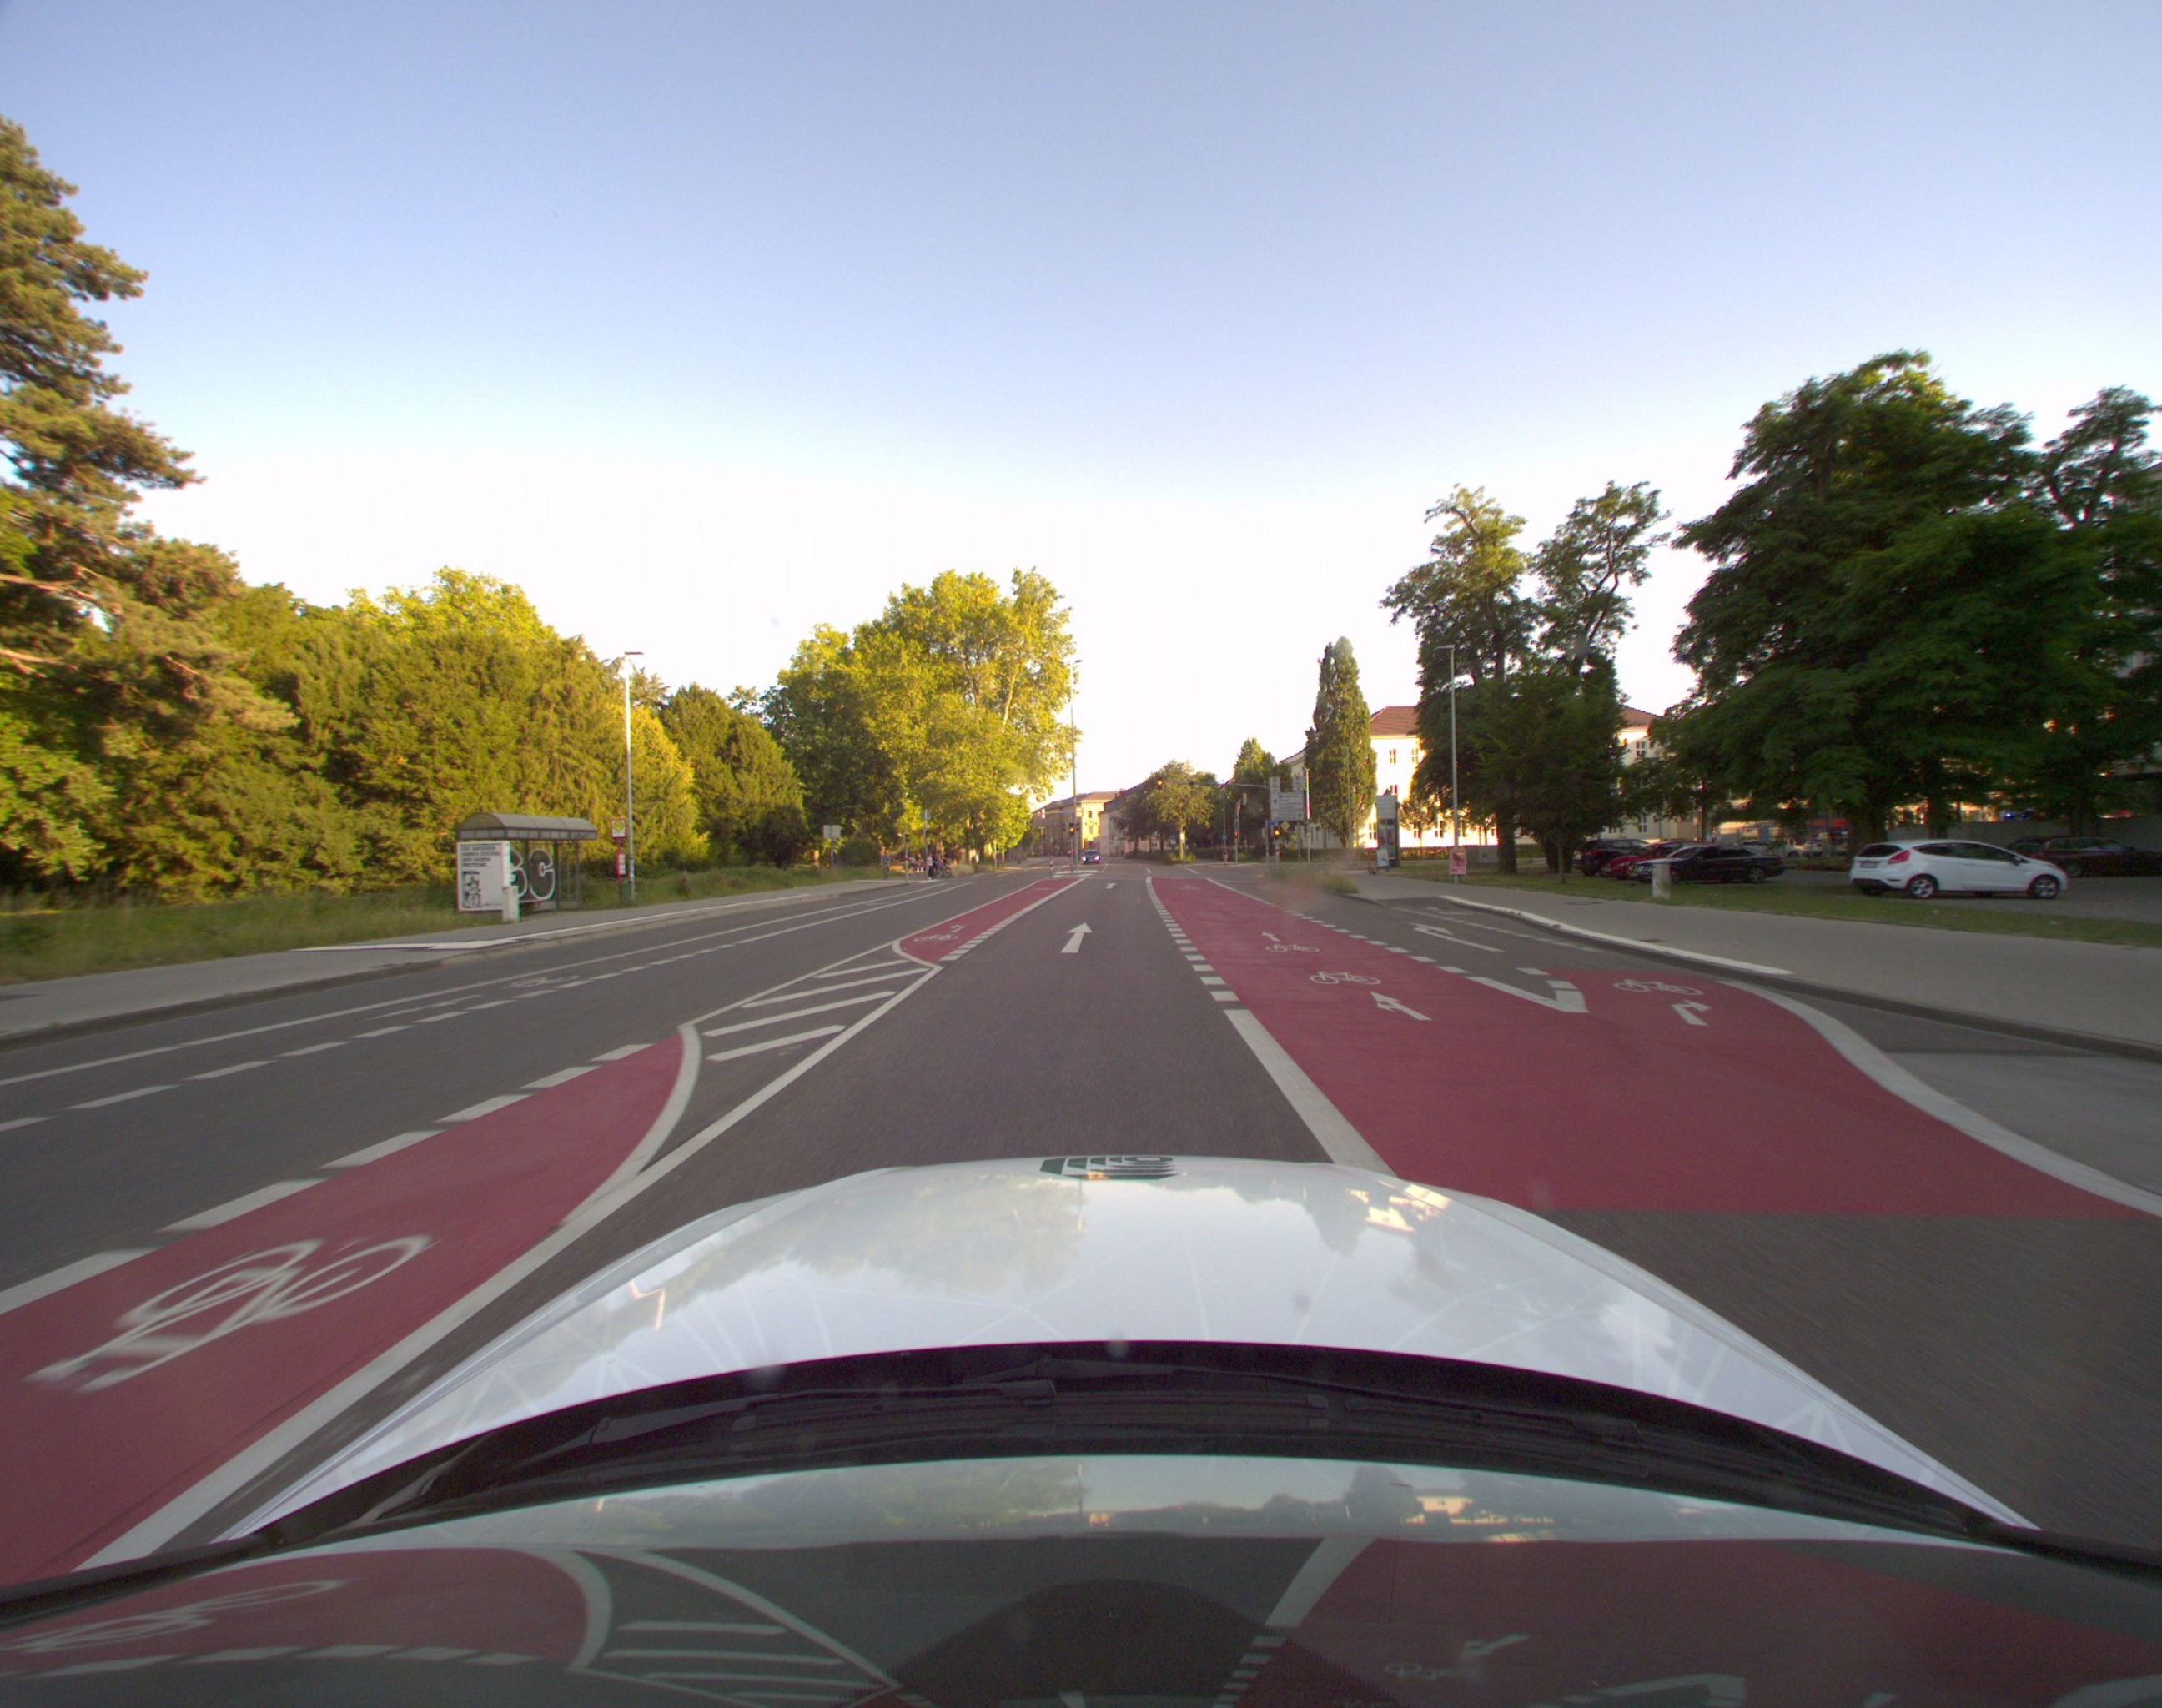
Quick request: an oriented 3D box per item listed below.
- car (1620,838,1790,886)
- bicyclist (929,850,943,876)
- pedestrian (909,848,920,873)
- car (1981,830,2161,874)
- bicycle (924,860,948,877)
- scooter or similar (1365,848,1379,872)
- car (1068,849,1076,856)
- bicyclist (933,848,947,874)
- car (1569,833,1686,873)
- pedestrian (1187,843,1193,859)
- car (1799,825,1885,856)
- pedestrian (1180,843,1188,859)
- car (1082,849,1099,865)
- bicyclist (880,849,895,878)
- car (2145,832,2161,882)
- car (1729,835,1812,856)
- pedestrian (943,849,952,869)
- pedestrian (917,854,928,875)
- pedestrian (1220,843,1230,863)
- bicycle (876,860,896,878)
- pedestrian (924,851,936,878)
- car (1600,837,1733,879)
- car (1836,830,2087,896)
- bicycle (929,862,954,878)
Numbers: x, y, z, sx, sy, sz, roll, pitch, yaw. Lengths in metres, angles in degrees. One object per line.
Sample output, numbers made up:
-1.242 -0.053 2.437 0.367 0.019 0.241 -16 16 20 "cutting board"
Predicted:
22.638 0.314 29.711 4.546 1.449 1.904 -3 -2 6 "car"
-9.462 0.572 53.149 0.631 1.649 0.634 -1 0 34 "bicyclist"
-13.568 0.518 66.368 0.653 2.013 0.600 0 0 -35 "pedestrian"
34.558 -0.067 28.387 3.963 1.442 1.907 0 0 9 "car"
-9.467 0.939 53.151 1.548 1.111 0.637 -1 0 35 "bicycle"
14.962 0.289 41.857 0.309 1.231 1.312 -1 0 4 "scooter or similar"
-2.233 -0.343 198.364 1.814 1.588 3.998 -2 0 -1 "car"
-9.489 0.472 54.731 0.631 1.780 0.580 -1 0 34 "bicyclist"
23.978 -0.024 35.862 3.875 1.694 1.841 0 0 8 "car"
13.428 -0.365 100.089 0.633 2.013 0.720 0 0 0 "pedestrian"
51.422 -0.899 55.091 3.964 2.013 1.744 0 0 8 "car"
12.577 -0.346 99.574 0.866 2.013 0.723 0 0 3 "pedestrian"
1.100 0.323 92.069 1.843 1.720 4.297 -3 0 1 "car"
-12.462 0.621 52.413 0.732 1.824 0.712 -2 -1 1 "bicyclist"
33.396 0.077 22.941 3.961 1.475 1.839 0 0 11 "car"
47.162 -0.592 55.739 3.963 1.342 1.825 -1 0 9 "car"
-13.218 0.489 80.585 0.637 2.013 0.702 -1 0 5 "pedestrian"
-15.352 0.975 79.045 0.799 2.013 0.995 0 0 3 "pedestrian"
14.103 -0.112 79.911 0.798 2.013 0.964 0 1 0 "pedestrian"
-12.565 0.971 52.564 0.768 1.100 2.121 -1 0 -2 "bicycle"
-9.448 0.649 50.938 0.604 1.695 0.499 -1 0 5 "pedestrian"
23.494 0.166 32.804 3.962 1.561 1.791 -1 0 10 "car"
21.761 0.214 20.297 3.965 1.537 1.915 0 0 7 "car"
-9.359 1.056 54.645 1.749 1.030 0.583 -1 0 35 "bicycle"
